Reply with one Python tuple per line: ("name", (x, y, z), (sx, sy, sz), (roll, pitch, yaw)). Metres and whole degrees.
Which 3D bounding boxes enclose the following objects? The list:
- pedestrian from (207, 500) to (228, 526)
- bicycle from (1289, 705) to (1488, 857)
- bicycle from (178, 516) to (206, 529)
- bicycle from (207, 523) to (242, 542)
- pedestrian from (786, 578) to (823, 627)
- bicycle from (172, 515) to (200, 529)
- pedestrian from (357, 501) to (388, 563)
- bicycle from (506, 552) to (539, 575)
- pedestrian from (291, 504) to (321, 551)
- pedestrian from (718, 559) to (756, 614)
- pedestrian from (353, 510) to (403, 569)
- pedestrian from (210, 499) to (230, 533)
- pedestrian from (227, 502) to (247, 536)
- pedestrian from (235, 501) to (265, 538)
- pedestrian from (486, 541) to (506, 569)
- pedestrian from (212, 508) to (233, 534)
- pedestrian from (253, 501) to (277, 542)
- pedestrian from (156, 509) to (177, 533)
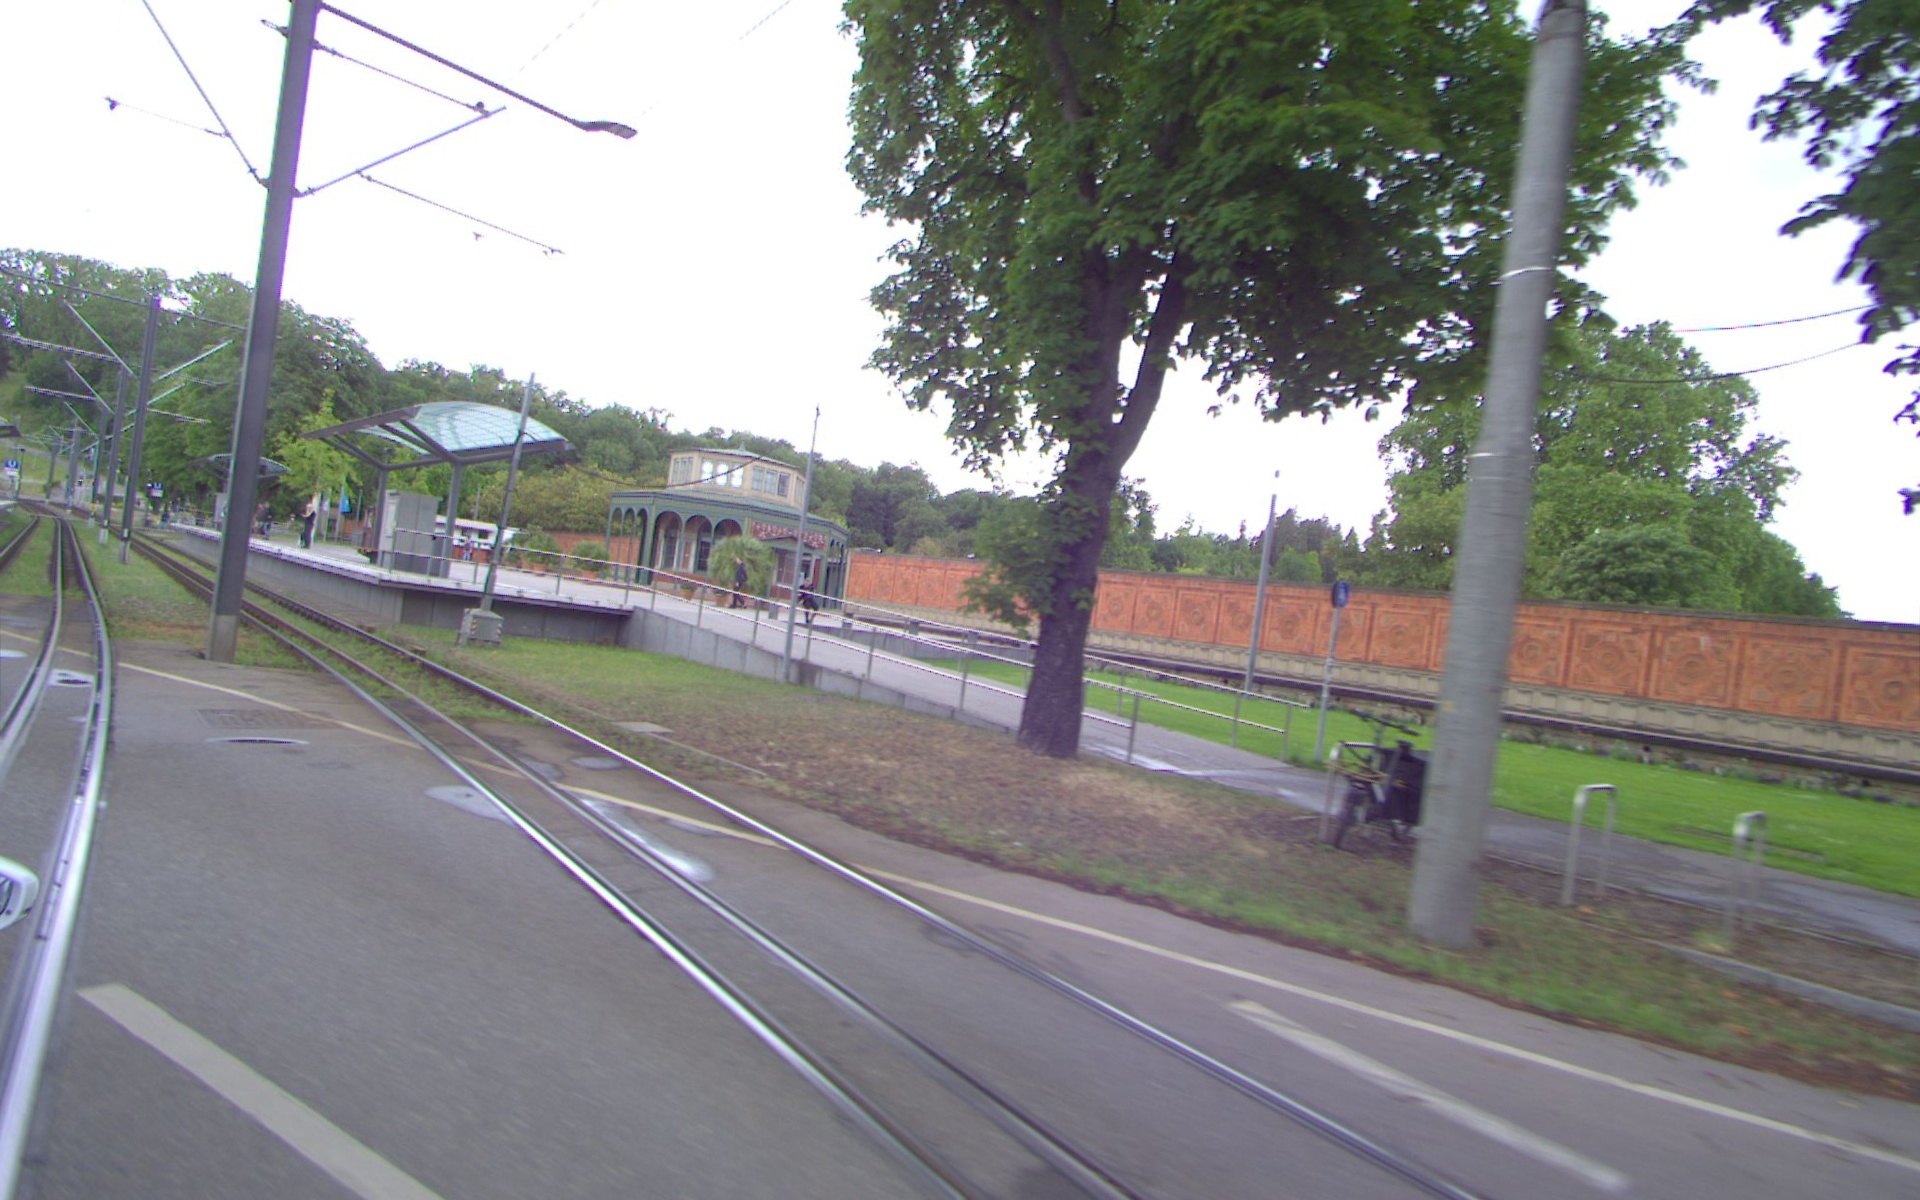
("pedestrian", (-42.960, -5.039, 58.195), (0.672, 1.338, 0.956), (11, -3, -44))
("bicycle", (4.005, 1.671, 9.332), (1.983, 1.171, 0.733), (9, -1, -38))
("bicycle", (-69.435, -6.987, 90.997), (1.906, 0.906, 0.524), (8, 0, -43))
("bicycle", (-52.849, -4.827, 72.315), (1.869, 0.973, 0.526), (12, -4, -42))
("pedestrian", (-4.272, 0.073, 27.637), (0.660, 1.214, 0.548), (7, -3, 41))
("bicycle", (-71.409, -7.230, 92.792), (1.906, 0.987, 0.524), (8, 0, -43))
("pedestrian", (-16.781, -1.932, 28.741), (0.483, 1.678, 0.622), (10, -2, -34))
("bicycle", (-25.980, -2.161, 59.762), (1.683, 1.073, 0.565), (8, -2, 17))
("pedestrian", (-25.719, -2.856, 39.534), (0.631, 1.706, 0.856), (11, -3, -43))
("pedestrian", (-8.129, -0.498, 36.757), (0.934, 1.858, 0.550), (9, -2, 12))
("pedestrian", (-17.139, -1.777, 29.651), (0.773, 1.558, 0.762), (8, -2, 25))
("pedestrian", (-39.513, -4.505, 53.727), (0.667, 1.695, 0.543), (7, -3, 44))
("pedestrian", (-35.906, -4.019, 49.954), (0.523, 1.637, 0.668), (10, -2, -41))
("pedestrian", (-36.258, -4.126, 51.371), (0.750, 1.695, 0.861), (7, -2, 37))
("pedestrian", (-29.367, -2.853, 63.676), (0.612, 1.600, 0.655), (8, -2, 34))
("pedestrian", (-37.253, -3.997, 50.805), (0.656, 1.204, 0.668), (11, -3, -41))
("pedestrian", (-33.346, -3.769, 48.268), (0.631, 1.858, 0.939), (11, -2, -41))
("pedestrian", (-59.210, -5.889, 75.066), (0.764, 1.629, 0.834), (7, 0, 25))
